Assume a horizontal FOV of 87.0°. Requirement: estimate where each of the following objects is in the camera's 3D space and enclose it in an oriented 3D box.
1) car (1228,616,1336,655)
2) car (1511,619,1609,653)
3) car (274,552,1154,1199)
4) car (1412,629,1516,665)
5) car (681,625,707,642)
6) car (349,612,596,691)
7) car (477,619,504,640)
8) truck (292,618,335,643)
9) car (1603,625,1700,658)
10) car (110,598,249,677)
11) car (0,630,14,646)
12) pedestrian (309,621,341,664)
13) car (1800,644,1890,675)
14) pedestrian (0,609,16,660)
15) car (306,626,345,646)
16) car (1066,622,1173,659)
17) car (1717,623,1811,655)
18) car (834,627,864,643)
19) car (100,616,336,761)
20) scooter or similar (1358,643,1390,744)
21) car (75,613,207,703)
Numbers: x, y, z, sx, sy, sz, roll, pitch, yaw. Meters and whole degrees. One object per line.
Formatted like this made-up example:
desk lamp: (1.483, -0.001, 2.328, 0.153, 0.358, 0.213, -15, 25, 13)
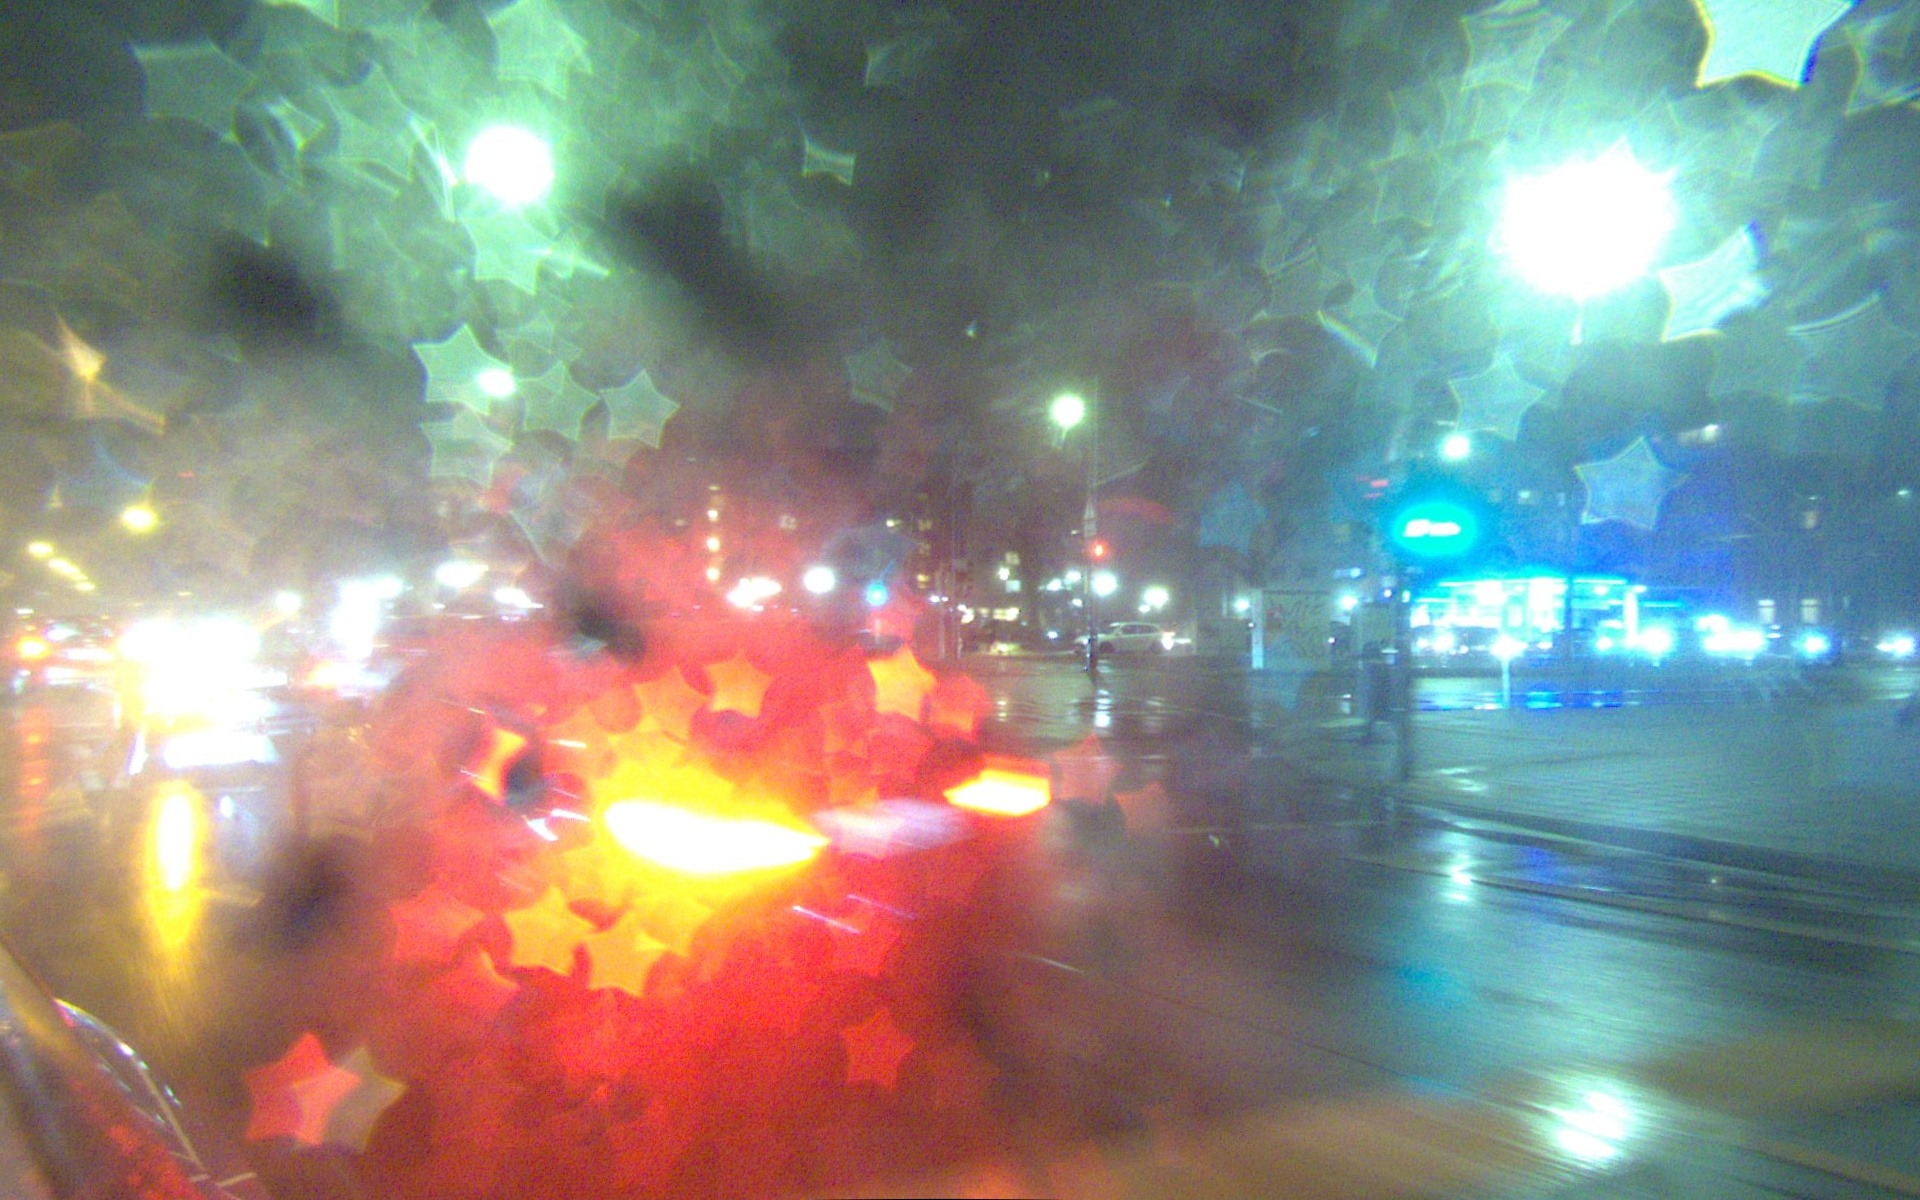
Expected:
car: (15.043, 1.633, 47.289, 4.657, 1.756, 1.904, 1, -2, -21)
car: (31.511, 1.890, 53.129, 4.657, 1.756, 1.904, 1, -2, -21)
car: (-1.631, 0.723, 4.768, 1.767, 1.566, 4.857, 1, -2, -45)
car: (25.379, 2.341, 51.019, 4.658, 1.756, 1.904, 1, -2, -18)
car: (-24.957, 3.126, 94.780, 1.838, 1.454, 4.508, 0, -1, -21)
car: (-10.335, 1.061, 21.544, 4.679, 1.554, 1.816, 0, -1, 14)
car: (-41.208, 2.608, 88.857, 1.838, 1.774, 4.508, 0, -2, -21)
truck: (-53.606, 2.545, 84.018, 2.093, 2.029, 5.279, 0, -2, -22)
car: (37.958, 2.250, 55.580, 4.658, 1.756, 1.904, 1, -2, -18)
car: (-21.456, 1.059, 27.756, 5.197, 1.968, 2.013, -3, -3, 41)
car: (-96.889, 3.838, 102.110, 1.799, 1.542, 4.790, 2, -3, -40)
pedestrian: (-26.470, 1.767, 42.214, 0.759, 1.749, 0.971, 0, -2, -7)
car: (52.561, 3.483, 60.112, 4.658, 1.756, 1.904, 1, -2, -18)
pedestrian: (-35.095, 1.252, 36.749, 1.093, 1.839, 0.853, 1, -3, -38)
car: (-46.812, 2.662, 74.743, 1.689, 1.442, 3.931, 0, -1, -21)
car: (7.062, 1.771, 44.841, 4.258, 1.581, 1.904, 1, -2, -21)
car: (45.603, 2.188, 57.411, 4.658, 1.756, 1.904, 1, -2, -18)
car: (-10.928, 3.411, 99.116, 1.838, 1.454, 4.508, 0, -1, -21)
car: (-8.889, 0.918, 11.991, 1.649, 1.431, 4.099, 1, -2, -45)
scooter or similar: (5.429, 1.202, 13.294, 0.283, 1.249, 1.073, -1, -1, 17)
car: (-16.037, 1.066, 19.737, 1.649, 1.574, 4.011, 1, -2, -44)
